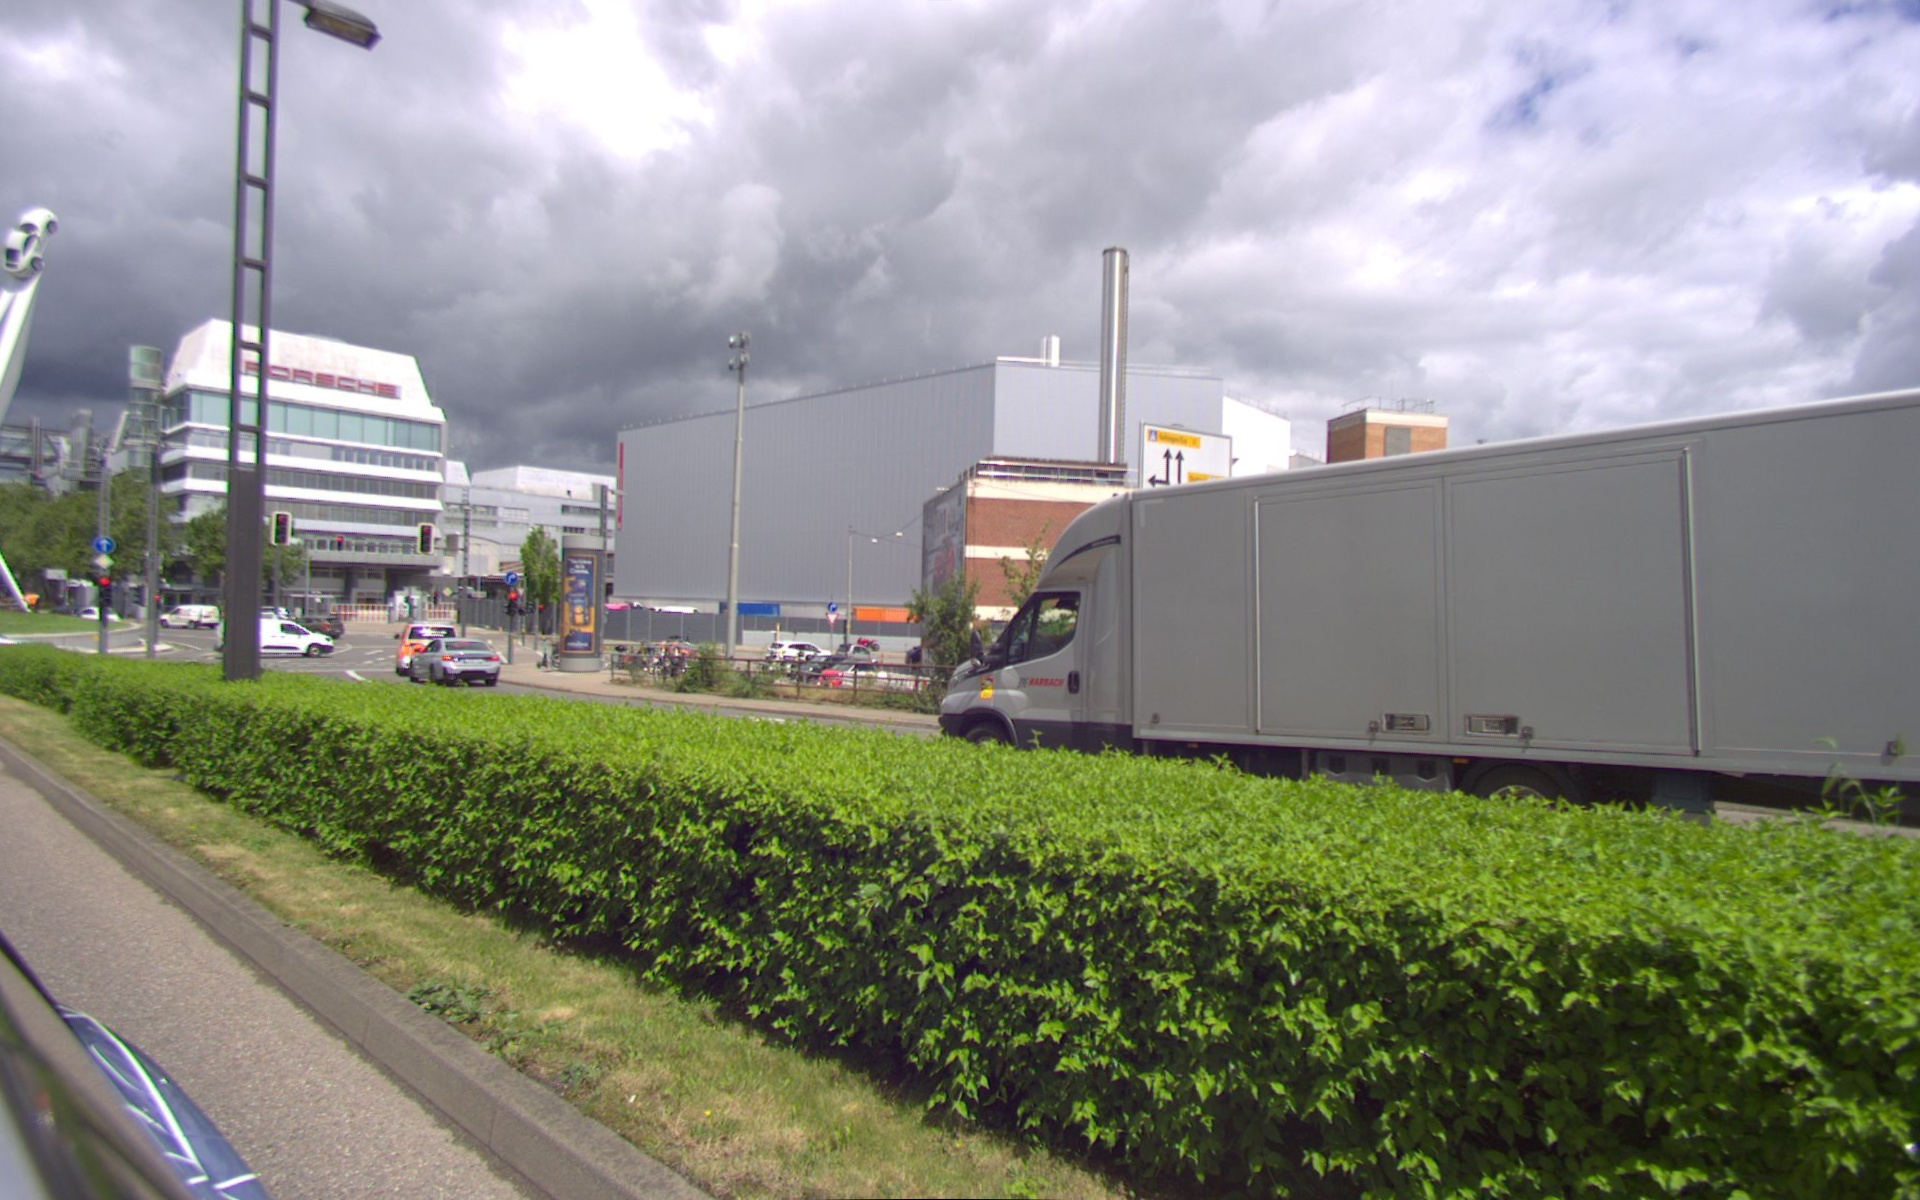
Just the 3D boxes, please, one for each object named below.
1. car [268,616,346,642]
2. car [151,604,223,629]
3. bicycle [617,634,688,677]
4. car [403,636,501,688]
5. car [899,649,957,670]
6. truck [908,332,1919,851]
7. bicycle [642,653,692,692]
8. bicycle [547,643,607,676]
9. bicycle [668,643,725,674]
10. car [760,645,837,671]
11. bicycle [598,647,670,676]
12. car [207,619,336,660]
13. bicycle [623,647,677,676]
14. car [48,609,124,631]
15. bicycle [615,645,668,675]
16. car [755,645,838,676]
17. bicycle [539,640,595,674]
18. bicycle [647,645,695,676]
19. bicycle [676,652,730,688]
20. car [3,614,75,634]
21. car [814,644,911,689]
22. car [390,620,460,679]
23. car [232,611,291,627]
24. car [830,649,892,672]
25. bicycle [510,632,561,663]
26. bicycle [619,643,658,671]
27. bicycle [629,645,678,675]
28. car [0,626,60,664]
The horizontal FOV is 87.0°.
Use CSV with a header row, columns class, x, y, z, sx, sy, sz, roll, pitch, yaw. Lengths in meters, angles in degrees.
class,x,y,z,sx,sy,sz,roll,pitch,yaw
car,-45.231,2.019,70.173,4.132,1.708,1.956,1,-1,-5
car,-59.914,1.290,78.450,4.351,1.843,1.995,0,-1,9
bicycle,-15.230,2.732,50.103,3.217,2.029,1.078,1,-1,-26
car,-15.833,1.899,31.438,1.773,1.433,4.500,3,-3,-39
car,-2.004,3.768,64.170,3.563,1.251,1.471,2,-2,-41
truck,3.862,0.128,8.872,9.374,2.879,2.825,-4,-4,42
bicycle,-8.135,1.992,28.036,0.513,0.996,1.952,2,-3,-43
bicycle,-14.570,2.254,38.512,2.012,1.176,0.622,2,-2,-40
bicycle,-8.727,1.925,33.626,0.619,0.996,1.928,-2,-2,32
car,-9.268,3.339,58.335,4.123,1.380,1.623,2,-2,-41
bicycle,-15.058,2.815,46.747,3.028,1.276,1.167,1,-1,-24
car,-32.811,1.855,48.318,4.795,1.837,2.001,2,-2,-44
bicycle,-12.917,2.551,42.214,2.024,1.121,0.674,1,-2,-35
car,-65.304,1.487,75.663,4.193,1.591,1.996,0,-1,7
bicycle,-13.936,2.627,44.296,2.077,1.265,0.742,1,-2,-30
car,-8.431,3.078,52.075,3.931,1.517,1.757,1,-1,-21
bicycle,-15.387,2.211,39.638,1.860,1.277,0.851,1,-1,-38
bicycle,-9.775,2.027,34.297,0.616,0.996,1.939,-1,-2,17
bicycle,-10.121,2.731,39.889,1.926,1.355,0.713,1,-2,-38
car,-73.528,1.894,80.823,4.191,1.523,1.934,0,-1,6
car,-4.351,2.922,44.983,3.931,1.875,1.757,1,-1,-21
car,-19.679,1.750,37.151,1.966,1.973,4.641,1,-1,-31
car,-61.877,1.668,89.702,3.891,1.388,1.633,1,-1,-14
car,-5.993,3.671,61.538,3.563,1.251,1.471,2,-2,-41
bicycle,-18.053,2.022,43.052,1.861,1.277,0.669,1,-2,-42
bicycle,-11.862,2.087,37.354,1.950,0.996,0.513,-2,-3,44
bicycle,-10.446,2.038,34.573,0.616,0.996,1.939,-1,-2,17
car,-39.920,1.820,41.085,4.702,1.497,2.056,1,-2,-30
